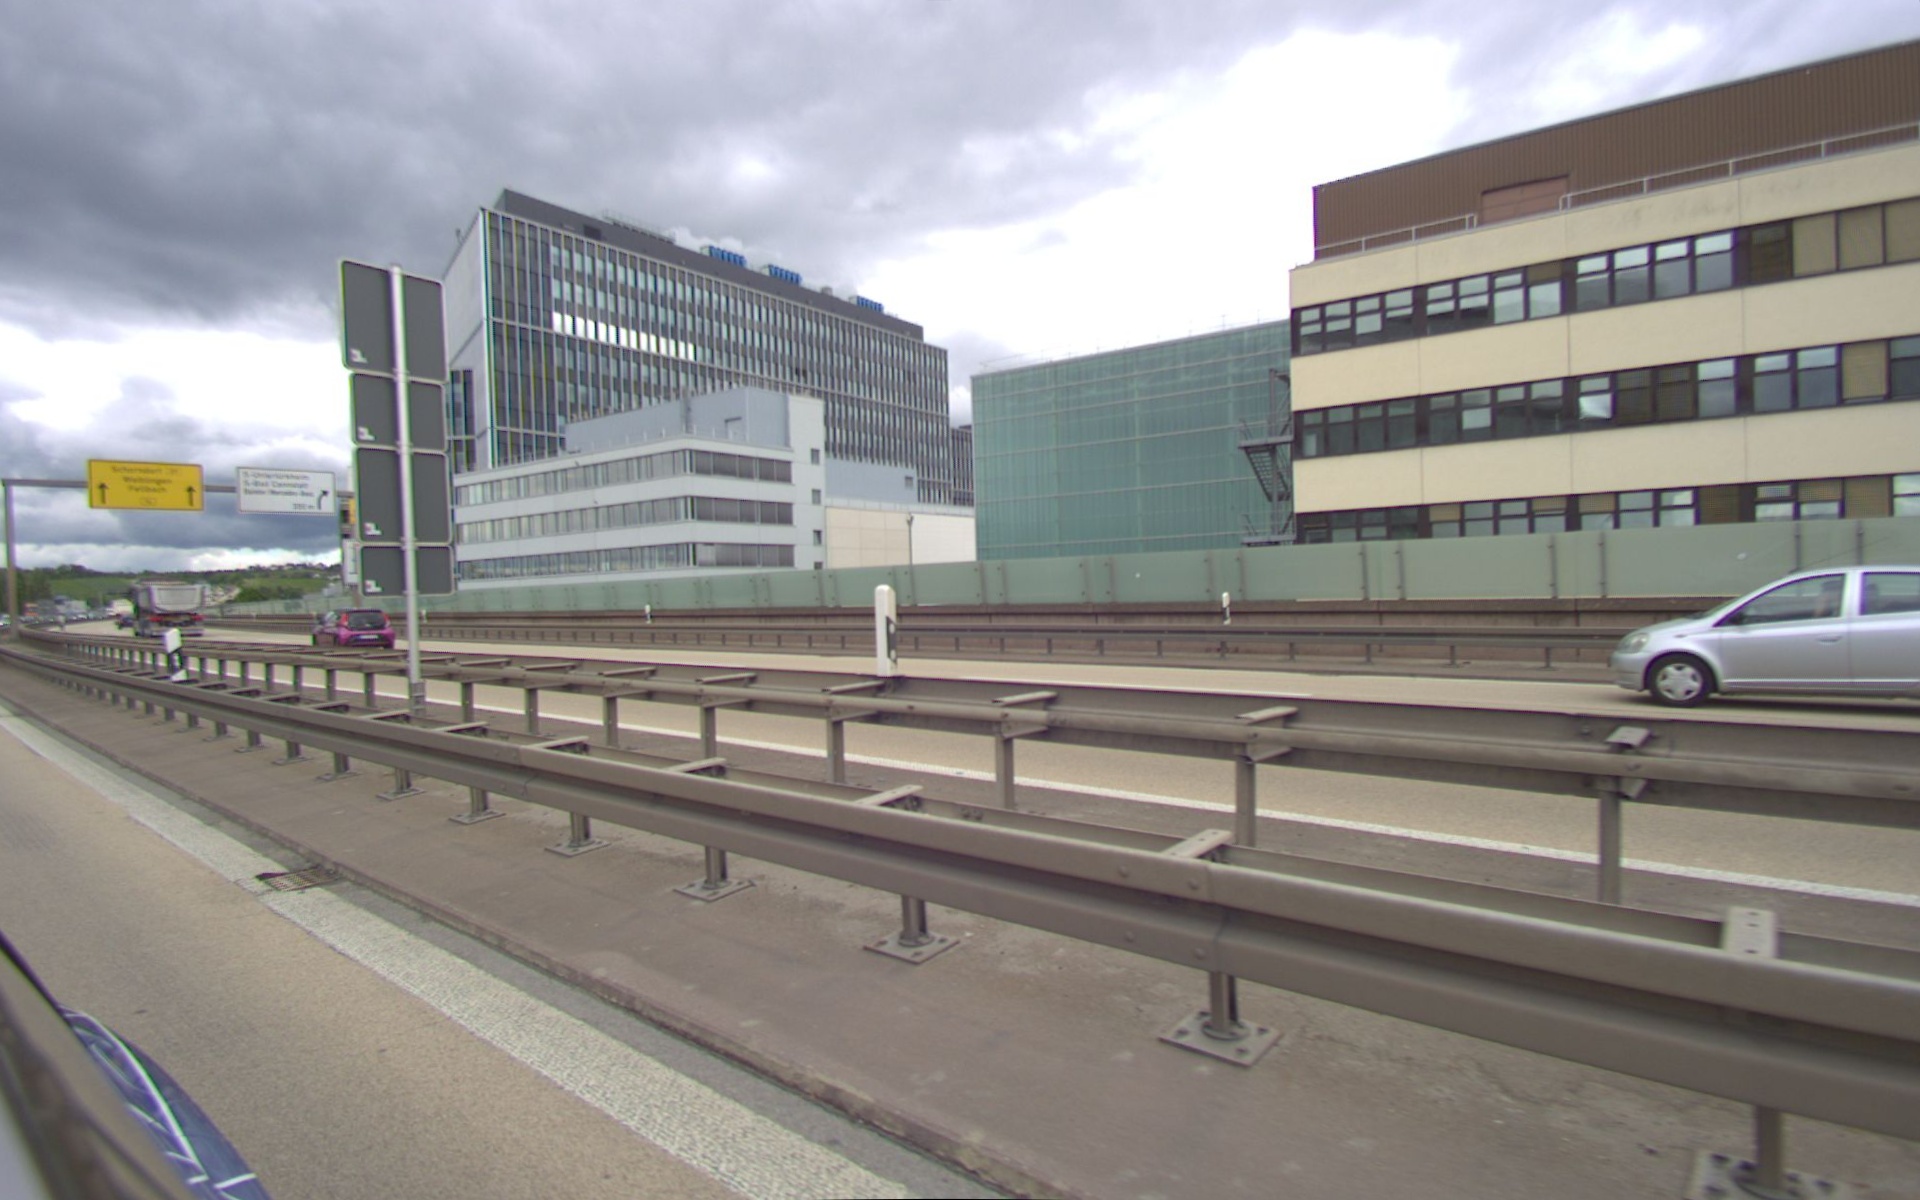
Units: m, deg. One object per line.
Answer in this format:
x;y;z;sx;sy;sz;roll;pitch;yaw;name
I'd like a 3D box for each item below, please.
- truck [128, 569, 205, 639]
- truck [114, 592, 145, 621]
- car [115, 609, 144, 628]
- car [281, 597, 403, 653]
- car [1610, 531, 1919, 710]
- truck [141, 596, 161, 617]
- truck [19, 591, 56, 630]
-48.015;0.236;61.084;2.777;3.838;12.033;0;0;-42;truck
-114.995;0.852;140.204;3.018;3.805;12.543;0;0;-38;truck
-75.816;1.663;92.421;1.968;1.687;4.417;0;0;-38;car
-19.931;0.752;32.568;4.403;1.687;1.974;0;0;39;car
9.482;0.192;10.464;4.406;1.687;1.973;0;0;42;car
-163.624;1.384;204.781;3.017;4.096;11.881;0;0;-38;truck
-114.183;1.266;125.392;3.019;4.597;12.089;0;0;-41;truck
